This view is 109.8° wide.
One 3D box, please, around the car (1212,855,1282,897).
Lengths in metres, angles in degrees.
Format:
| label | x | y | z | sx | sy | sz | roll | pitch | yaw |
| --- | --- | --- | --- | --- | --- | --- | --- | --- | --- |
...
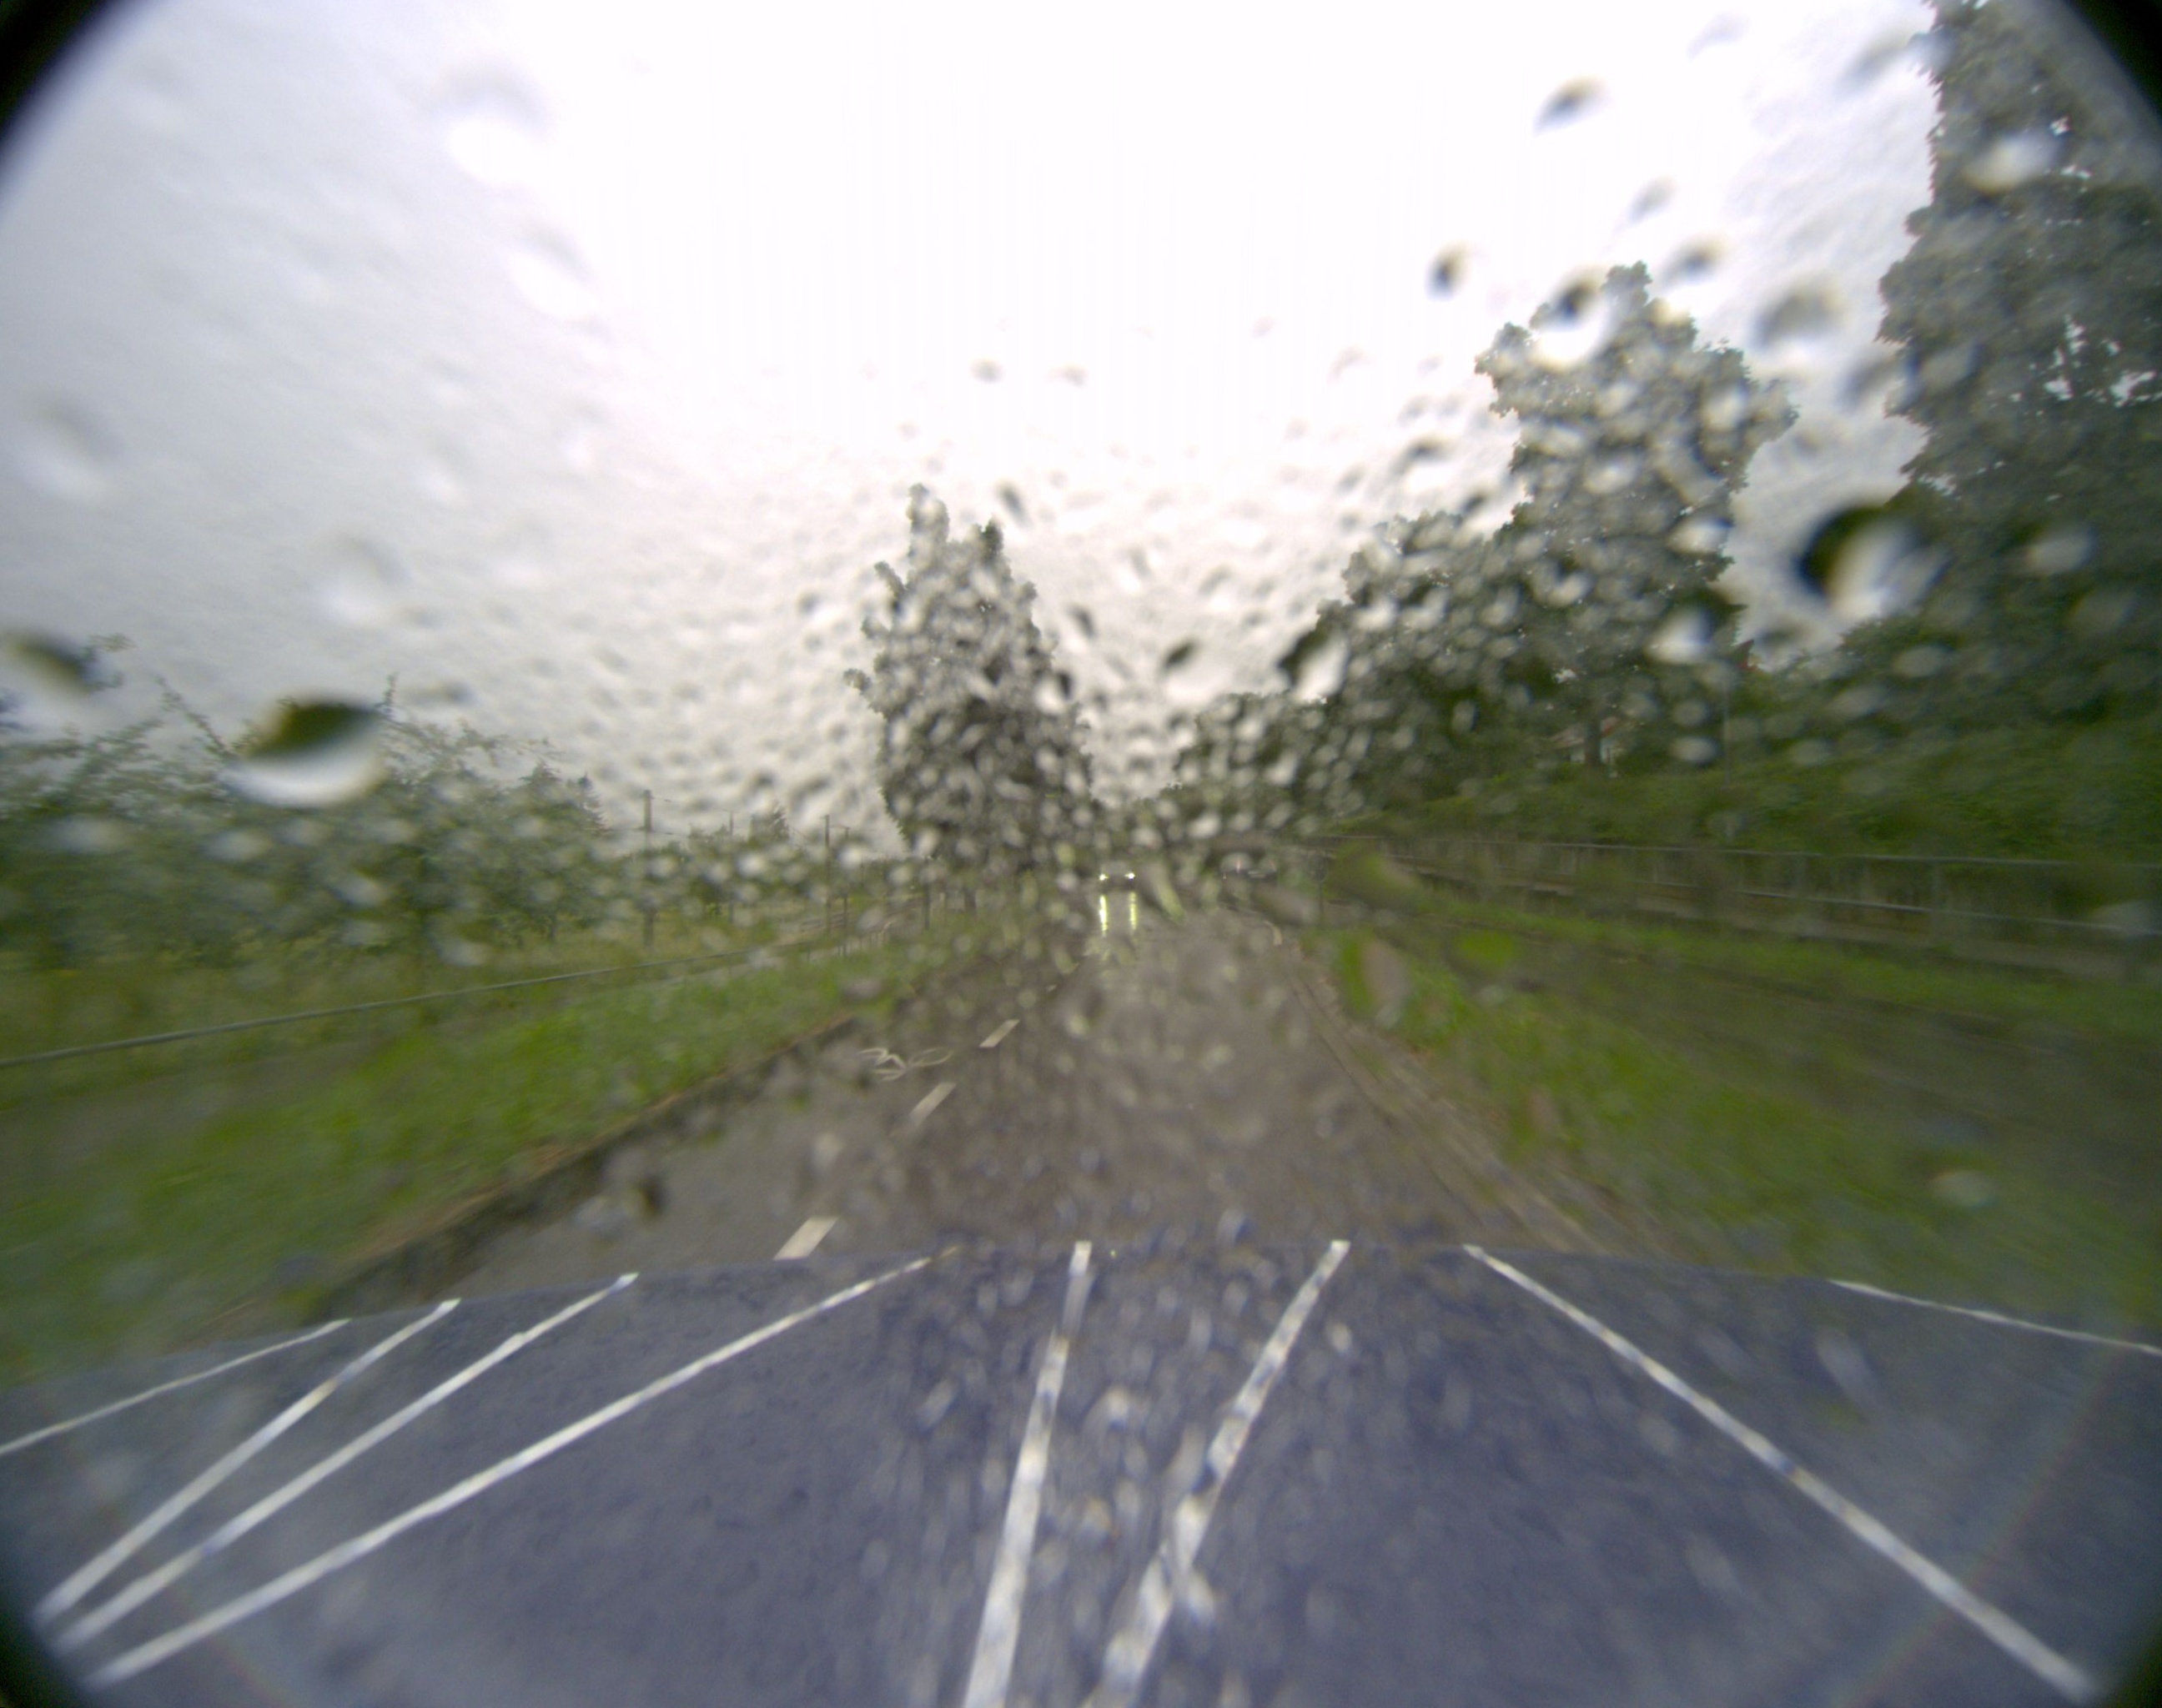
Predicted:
| label | x | y | z | sx | sy | sz | roll | pitch | yaw |
| --- | --- | --- | --- | --- | --- | --- | --- | --- | --- |
| car | 6.254 | 0.789 | 29.092 | 1.765 | 1.494 | 4.141 | 0 | 0 | 0 |

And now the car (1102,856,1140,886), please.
| label | x | y | z | sx | sy | sz | roll | pitch | yaw |
| --- | --- | --- | --- | --- | --- | --- | --- | --- | --- |
| car | 2.006 | 0.909 | 39.379 | 1.765 | 1.476 | 3.792 | 0 | -2 | 0 |
